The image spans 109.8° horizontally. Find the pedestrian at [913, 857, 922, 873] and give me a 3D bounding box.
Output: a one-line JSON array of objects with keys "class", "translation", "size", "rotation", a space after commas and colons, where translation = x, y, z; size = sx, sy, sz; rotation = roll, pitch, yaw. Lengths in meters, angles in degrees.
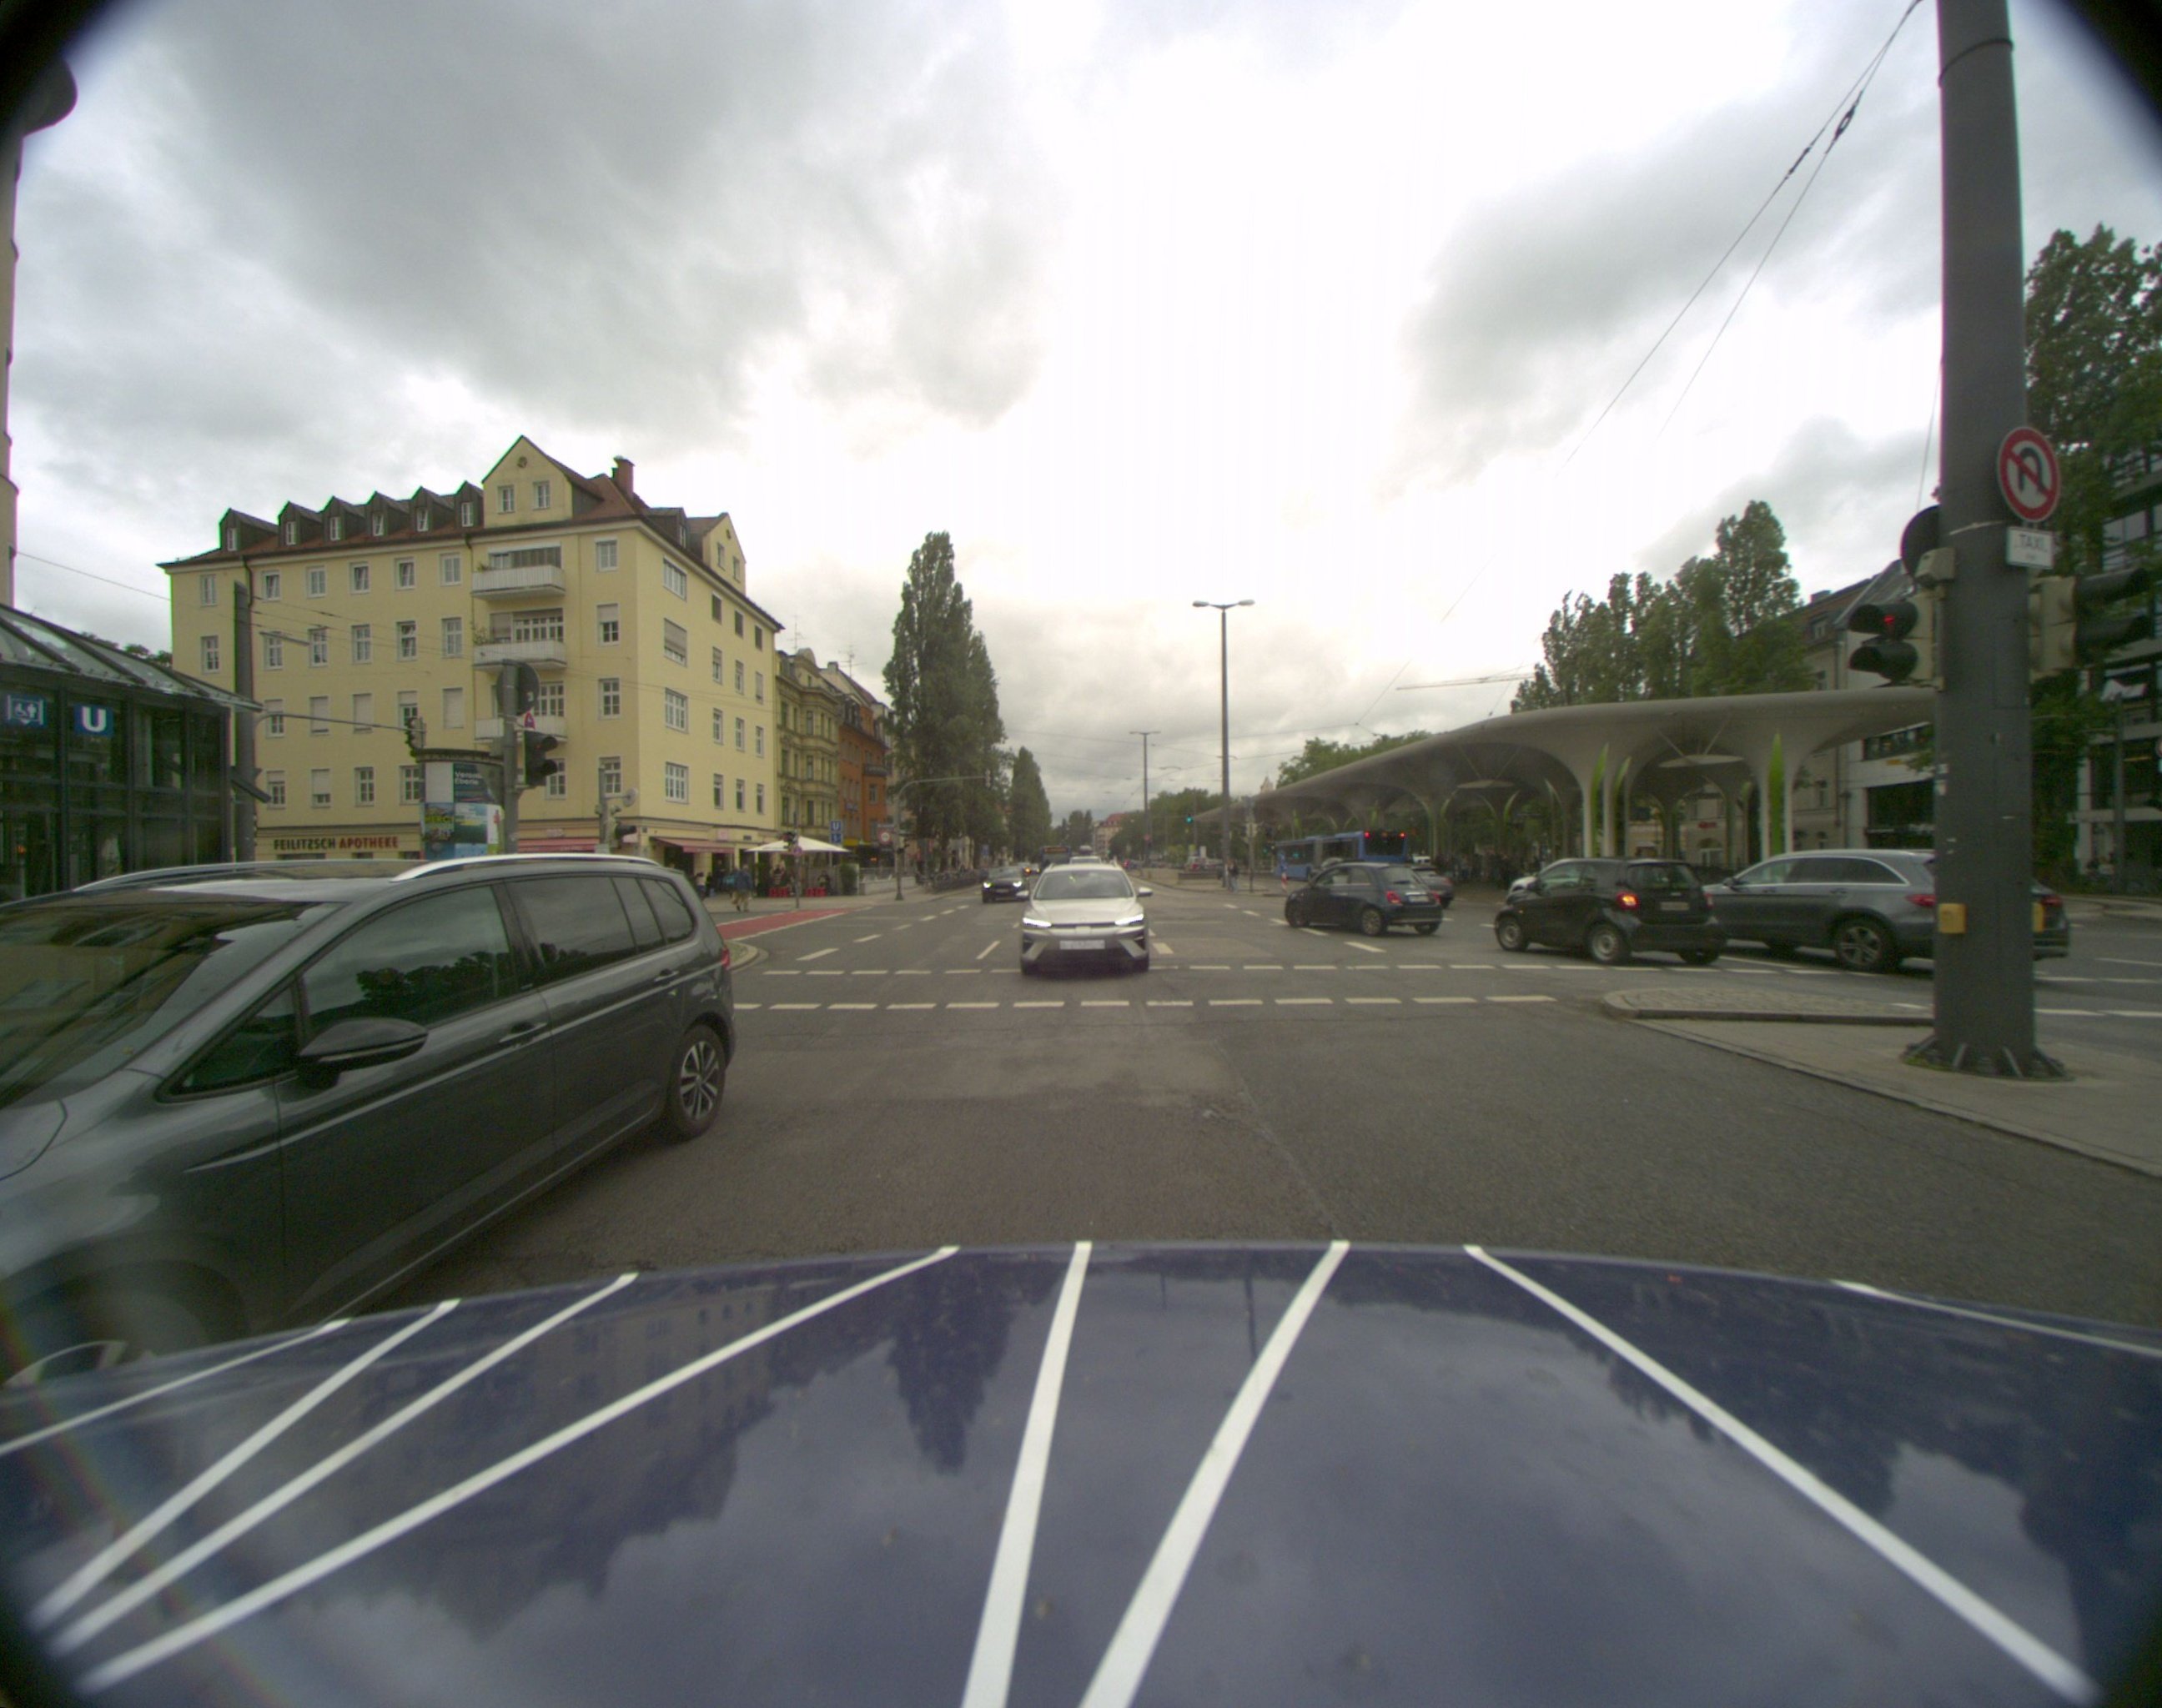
[{"class": "pedestrian", "translation": [-17.871, 1.191, 82.920], "size": [0.748, 1.704, 1.017], "rotation": [-1, 0, 0]}]

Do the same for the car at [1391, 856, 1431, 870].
[{"class": "car", "translation": [38.578, 1.004, 88.872], "size": [3.994, 1.606, 1.832], "rotation": [-1, 0, 8]}]

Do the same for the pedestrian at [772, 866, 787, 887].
[{"class": "pedestrian", "translation": [-17.721, 1.311, 44.687], "size": [0.602, 1.215, 0.666], "rotation": [-1, 0, 0]}]

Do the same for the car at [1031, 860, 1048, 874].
[{"class": "car", "translation": [-4.988, 1.491, 91.194], "size": [1.780, 1.515, 3.969], "rotation": [-1, 1, 0]}]

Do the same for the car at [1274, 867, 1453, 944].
[{"class": "car", "translation": [5.901, 1.015, 16.293], "size": [1.552, 1.437, 3.532], "rotation": [0, -1, -25]}]

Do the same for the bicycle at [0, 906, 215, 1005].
[{"class": "bicycle", "translation": [-13.064, 1.310, 10.266], "size": [0.567, 1.101, 1.866], "rotation": [-1, 0, 0]}]

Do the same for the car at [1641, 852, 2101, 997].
[{"class": "car", "translation": [10.933, 0.842, 11.192], "size": [1.748, 1.660, 4.731], "rotation": [1, 0, -2]}]

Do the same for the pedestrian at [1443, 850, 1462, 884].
[{"class": "pedestrian", "translation": [18.964, 0.663, 38.746], "size": [0.703, 1.700, 0.758], "rotation": [0, 0, 39]}]

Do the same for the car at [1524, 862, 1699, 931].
[{"class": "car", "translation": [13.588, 1.019, 19.797], "size": [1.703, 1.586, 4.000], "rotation": [1, 0, -1]}]

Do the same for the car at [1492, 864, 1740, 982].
[{"class": "car", "translation": [7.807, 0.925, 11.392], "size": [1.508, 1.525, 2.835], "rotation": [0, -1, -8]}]

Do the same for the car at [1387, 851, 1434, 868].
[{"class": "car", "translation": [39.854, 0.680, 91.965], "size": [4.923, 1.936, 1.872], "rotation": [-1, 0, 11]}]

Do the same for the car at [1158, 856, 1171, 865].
[{"class": "car", "translation": [15.524, 1.211, 141.483], "size": [1.864, 1.517, 4.233], "rotation": [0, 0, 0]}]

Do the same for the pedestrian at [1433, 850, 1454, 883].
[{"class": "pedestrian", "translation": [18.203, 0.625, 38.188], "size": [0.633, 1.665, 0.746], "rotation": [-1, 1, -38]}]

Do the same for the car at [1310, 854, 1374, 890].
[{"class": "car", "translation": [12.687, 0.862, 37.208], "size": [1.787, 1.652, 4.000], "rotation": [-1, 0, 1]}]

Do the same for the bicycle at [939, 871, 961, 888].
[{"class": "bicycle", "translation": [-8.036, 1.536, 46.582], "size": [1.836, 0.990, 0.349], "rotation": [0, 1, 44]}]

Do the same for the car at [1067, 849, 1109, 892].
[{"class": "car", "translation": [0.327, 0.826, 39.144], "size": [1.999, 2.100, 4.000], "rotation": [-1, 0, 0]}]

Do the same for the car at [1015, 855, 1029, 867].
[{"class": "car", "translation": [-8.368, 1.015, 108.072], "size": [1.737, 1.651, 4.502], "rotation": [-1, 0, -1]}]

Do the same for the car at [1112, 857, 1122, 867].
[{"class": "car", "translation": [7.481, 1.648, 157.312], "size": [1.791, 1.844, 4.217], "rotation": [0, 0, -2]}]

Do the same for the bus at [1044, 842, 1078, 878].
[{"class": "bus", "translation": [-1.697, 0.551, 68.980], "size": [2.637, 2.956, 9.466], "rotation": [-3, 0, 0]}]

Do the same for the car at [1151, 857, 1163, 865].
[{"class": "car", "translation": [15.176, 1.333, 151.606], "size": [1.998, 1.561, 4.101], "rotation": [-1, 0, 0]}]

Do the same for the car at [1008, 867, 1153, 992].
[{"class": "car", "translation": [0.054, 1.003, 12.151], "size": [1.812, 1.496, 4.953], "rotation": [-2, 0, 1]}]

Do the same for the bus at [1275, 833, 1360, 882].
[{"class": "bus", "translation": [16.110, 0.234, 52.723], "size": [2.667, 2.990, 10.516], "rotation": [1, 0, 1]}]

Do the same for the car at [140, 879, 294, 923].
[{"class": "car", "translation": [-30.759, 1.646, 27.102], "size": [3.993, 1.414, 1.896], "rotation": [-1, 0, 12]}]

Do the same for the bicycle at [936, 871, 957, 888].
[{"class": "bicycle", "translation": [-8.152, 1.540, 46.015], "size": [0.349, 0.990, 1.837], "rotation": [-1, 1, -43]}]

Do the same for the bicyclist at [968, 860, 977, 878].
[{"class": "bicyclist", "translation": [-9.807, 1.347, 68.855], "size": [0.681, 1.594, 0.939], "rotation": [-1, 0, 0]}]

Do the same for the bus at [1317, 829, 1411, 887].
[{"class": "bus", "translation": [16.049, 0.210, 43.728], "size": [2.667, 2.990, 7.513], "rotation": [1, 0, 1]}]

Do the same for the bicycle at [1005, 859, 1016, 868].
[{"class": "bicycle", "translation": [-8.651, 1.119, 93.066], "size": [0.360, 1.096, 1.740], "rotation": [-1, 0, -44]}]

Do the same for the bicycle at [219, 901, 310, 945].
[{"class": "bicycle", "translation": [-20.193, 1.699, 18.809], "size": [1.584, 1.027, 0.357], "rotation": [-1, 0, -14]}]

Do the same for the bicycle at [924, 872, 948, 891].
[{"class": "bicycle", "translation": [-8.087, 1.522, 42.272], "size": [1.837, 0.990, 0.349], "rotation": [0, 1, 45]}]

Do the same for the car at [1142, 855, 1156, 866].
[{"class": "car", "translation": [11.493, 1.061, 128.310], "size": [1.911, 1.829, 3.868], "rotation": [-1, 0, 0]}]

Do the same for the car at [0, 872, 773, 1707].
[{"class": "car", "translation": [-3.090, 0.973, 2.890], "size": [1.776, 1.637, 4.708], "rotation": [-3, 0, 1]}]

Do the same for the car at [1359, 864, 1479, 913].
[{"class": "car", "translation": [10.983, 1.073, 25.075], "size": [1.999, 1.403, 4.167], "rotation": [-1, 0, -2]}]

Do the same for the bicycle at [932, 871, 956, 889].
[{"class": "bicycle", "translation": [-8.041, 1.530, 44.507], "size": [1.837, 0.990, 0.349], "rotation": [0, 1, 45]}]

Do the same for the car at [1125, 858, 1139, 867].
[{"class": "car", "translation": [10.700, 1.730, 159.510], "size": [2.181, 1.876, 6.155], "rotation": [-1, 0, -2]}]

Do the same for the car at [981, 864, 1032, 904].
[{"class": "car", "translation": [-3.173, 1.230, 32.913], "size": [1.780, 1.495, 3.969], "rotation": [-2, 1, 0]}]

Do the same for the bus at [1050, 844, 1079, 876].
[{"class": "bus", "translation": [-1.602, 0.571, 77.994], "size": [2.637, 2.956, 8.534], "rotation": [-3, 0, 0]}]

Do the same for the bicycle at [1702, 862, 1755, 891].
[{"class": "bicycle", "translation": [26.679, 0.927, 31.363], "size": [0.642, 1.118, 2.167], "rotation": [-1, 0, 10]}]

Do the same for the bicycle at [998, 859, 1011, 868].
[{"class": "bicycle", "translation": [-9.254, 1.163, 92.443], "size": [1.740, 1.096, 0.360], "rotation": [-1, 0, 35]}]

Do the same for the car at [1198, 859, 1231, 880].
[{"class": "car", "translation": [10.100, 1.163, 57.643], "size": [1.668, 1.499, 4.281], "rotation": [0, 0, -1]}]

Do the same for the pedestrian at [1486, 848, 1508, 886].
[{"class": "pedestrian", "translation": [20.265, 0.642, 37.016], "size": [0.805, 1.806, 0.706], "rotation": [-1, 0, 15]}]
